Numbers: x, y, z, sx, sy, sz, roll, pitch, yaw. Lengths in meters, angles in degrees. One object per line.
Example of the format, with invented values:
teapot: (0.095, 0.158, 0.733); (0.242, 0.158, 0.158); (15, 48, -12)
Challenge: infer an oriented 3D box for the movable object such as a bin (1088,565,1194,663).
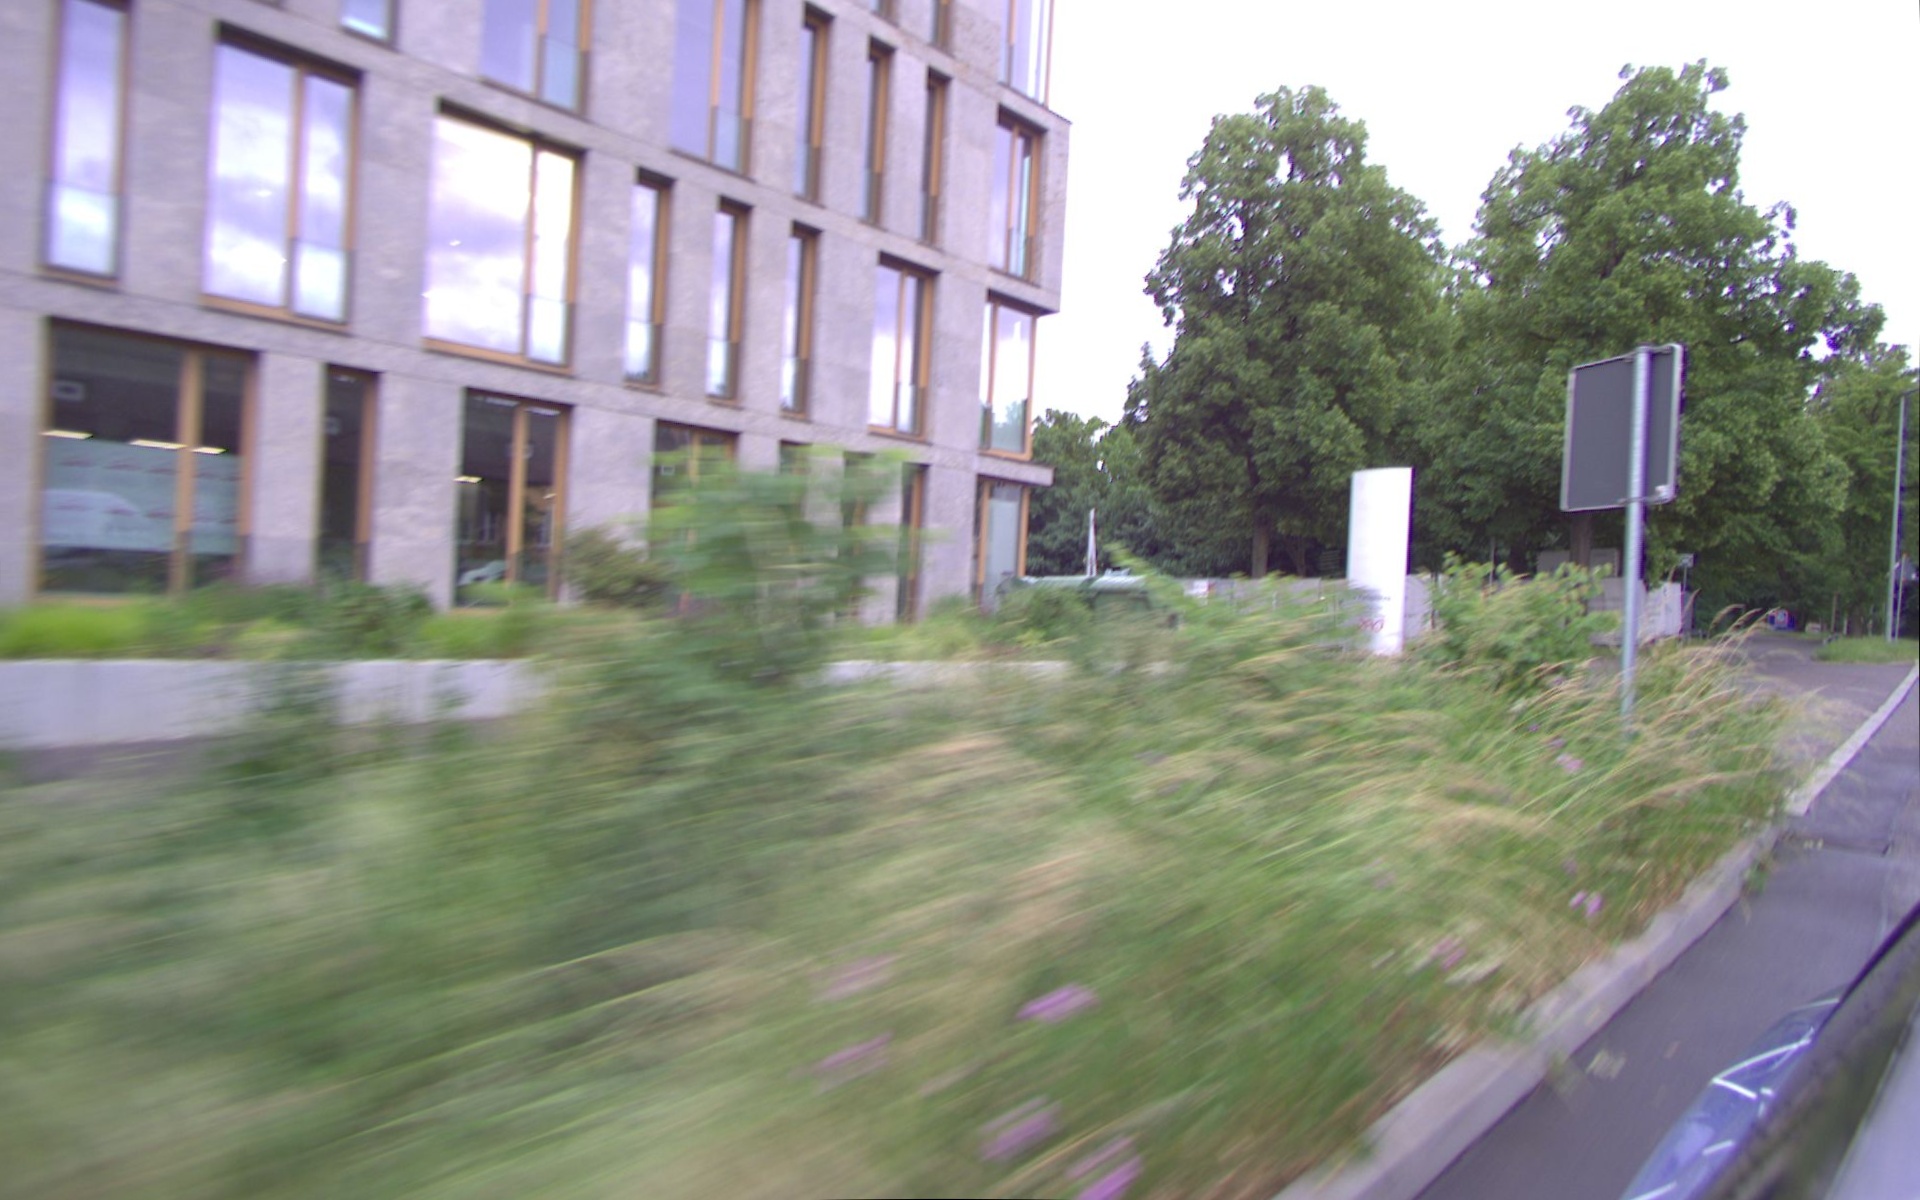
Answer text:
movable object such as a bin: (2.864, 0.216, 16.104); (1.089, 1.476, 1.251); (0, -1, -32)

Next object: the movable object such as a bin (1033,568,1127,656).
movable object such as a bin: (2.017, 0.203, 17.112); (1.127, 1.417, 1.101); (0, -1, -33)

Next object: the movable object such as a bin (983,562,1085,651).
movable object such as a bin: (1.321, 0.091, 18.187); (1.361, 1.523, 1.200); (0, 1, -34)
